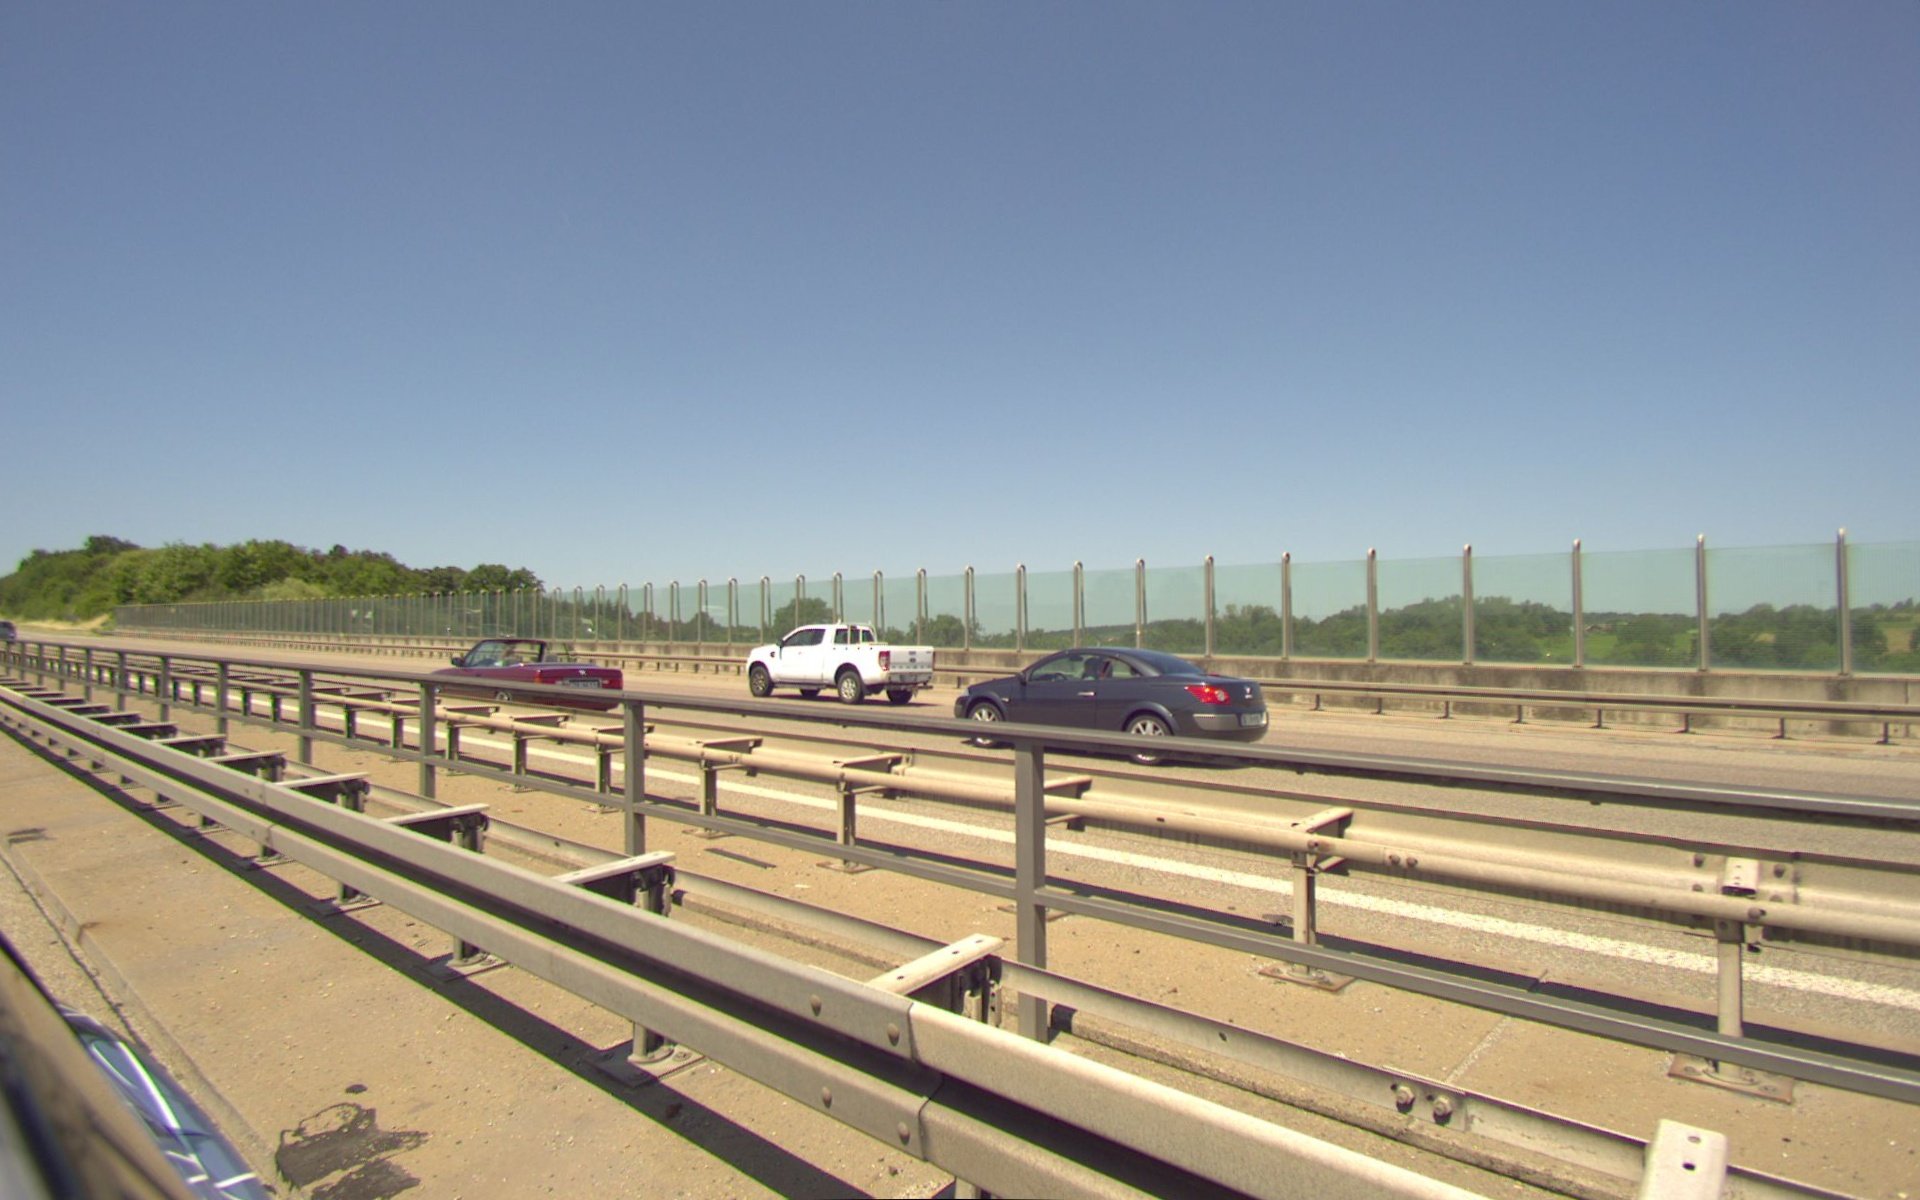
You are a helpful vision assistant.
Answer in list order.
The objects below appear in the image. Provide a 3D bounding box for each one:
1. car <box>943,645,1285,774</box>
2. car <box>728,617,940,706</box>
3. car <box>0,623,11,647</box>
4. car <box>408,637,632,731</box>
[{"bbox_3d":[1.854,1.296,13.039,4.177,1.360,1.581,-2,-4,41],"label":"car"},{"bbox_3d":[-3.090,1.408,24.060,5.252,1.899,1.973,-1,-4,41],"label":"car"},{"bbox_3d":[-68.014,2.464,70.876,4.475,1.639,1.787,-1,0,41],"label":"car"},{"bbox_3d":[-7.237,1.283,16.440,4.339,1.328,1.581,-2,-4,41],"label":"car"}]
